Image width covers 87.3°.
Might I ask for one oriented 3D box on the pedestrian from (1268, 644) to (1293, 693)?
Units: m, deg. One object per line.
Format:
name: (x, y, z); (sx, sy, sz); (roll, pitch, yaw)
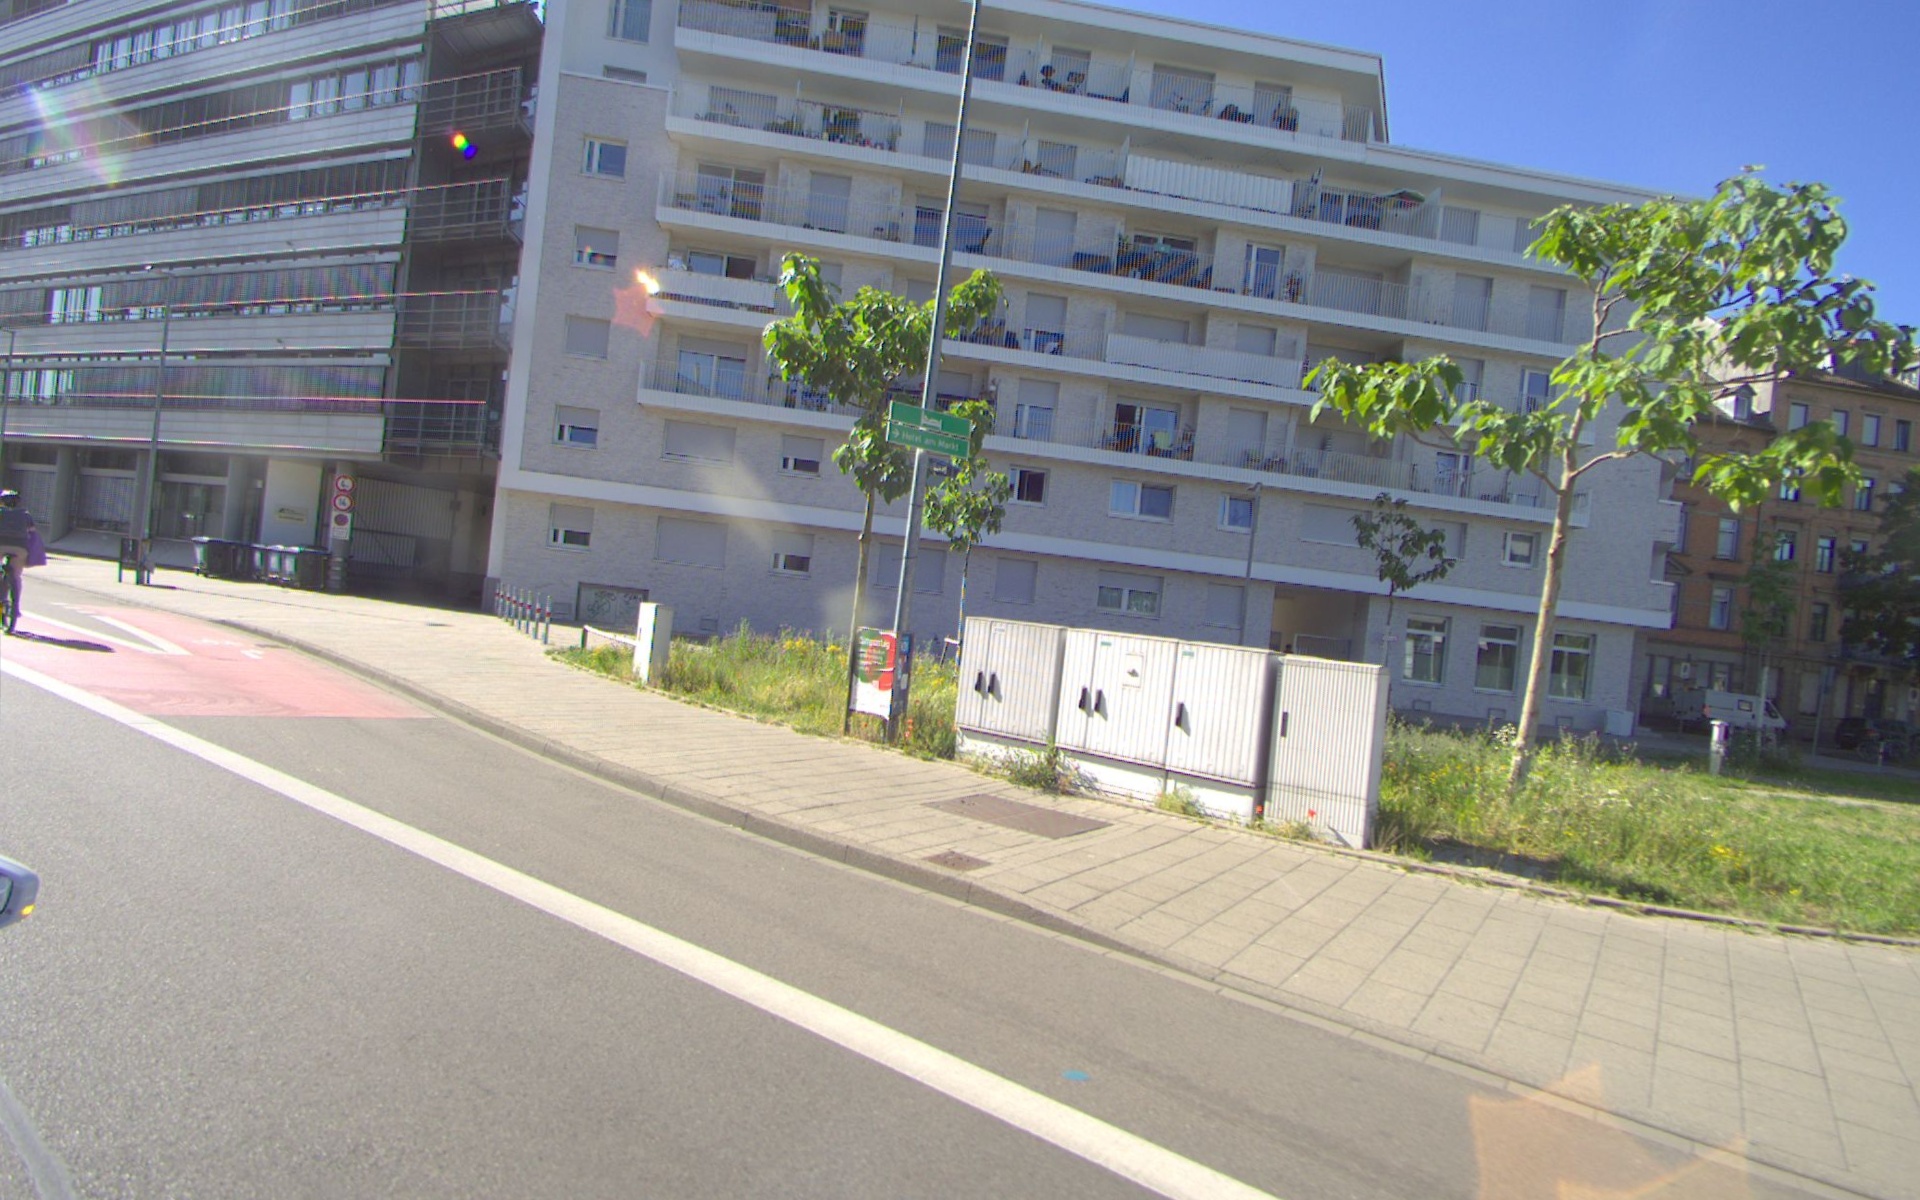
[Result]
pedestrian: (11.152, 2.378, 35.011); (0.513, 1.668, 0.471); (6, 0, -2)

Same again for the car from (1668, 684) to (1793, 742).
car: (37.313, 5.454, 48.774); (4.559, 2.138, 1.999); (6, -1, -5)

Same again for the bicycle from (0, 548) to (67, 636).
bicycle: (-12.954, -0.155, 13.647); (1.863, 1.048, 0.826); (5, -2, 37)

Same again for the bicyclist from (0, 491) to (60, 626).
bicyclist: (-12.962, -0.587, 13.627); (1.035, 1.712, 0.807); (6, -2, 37)
